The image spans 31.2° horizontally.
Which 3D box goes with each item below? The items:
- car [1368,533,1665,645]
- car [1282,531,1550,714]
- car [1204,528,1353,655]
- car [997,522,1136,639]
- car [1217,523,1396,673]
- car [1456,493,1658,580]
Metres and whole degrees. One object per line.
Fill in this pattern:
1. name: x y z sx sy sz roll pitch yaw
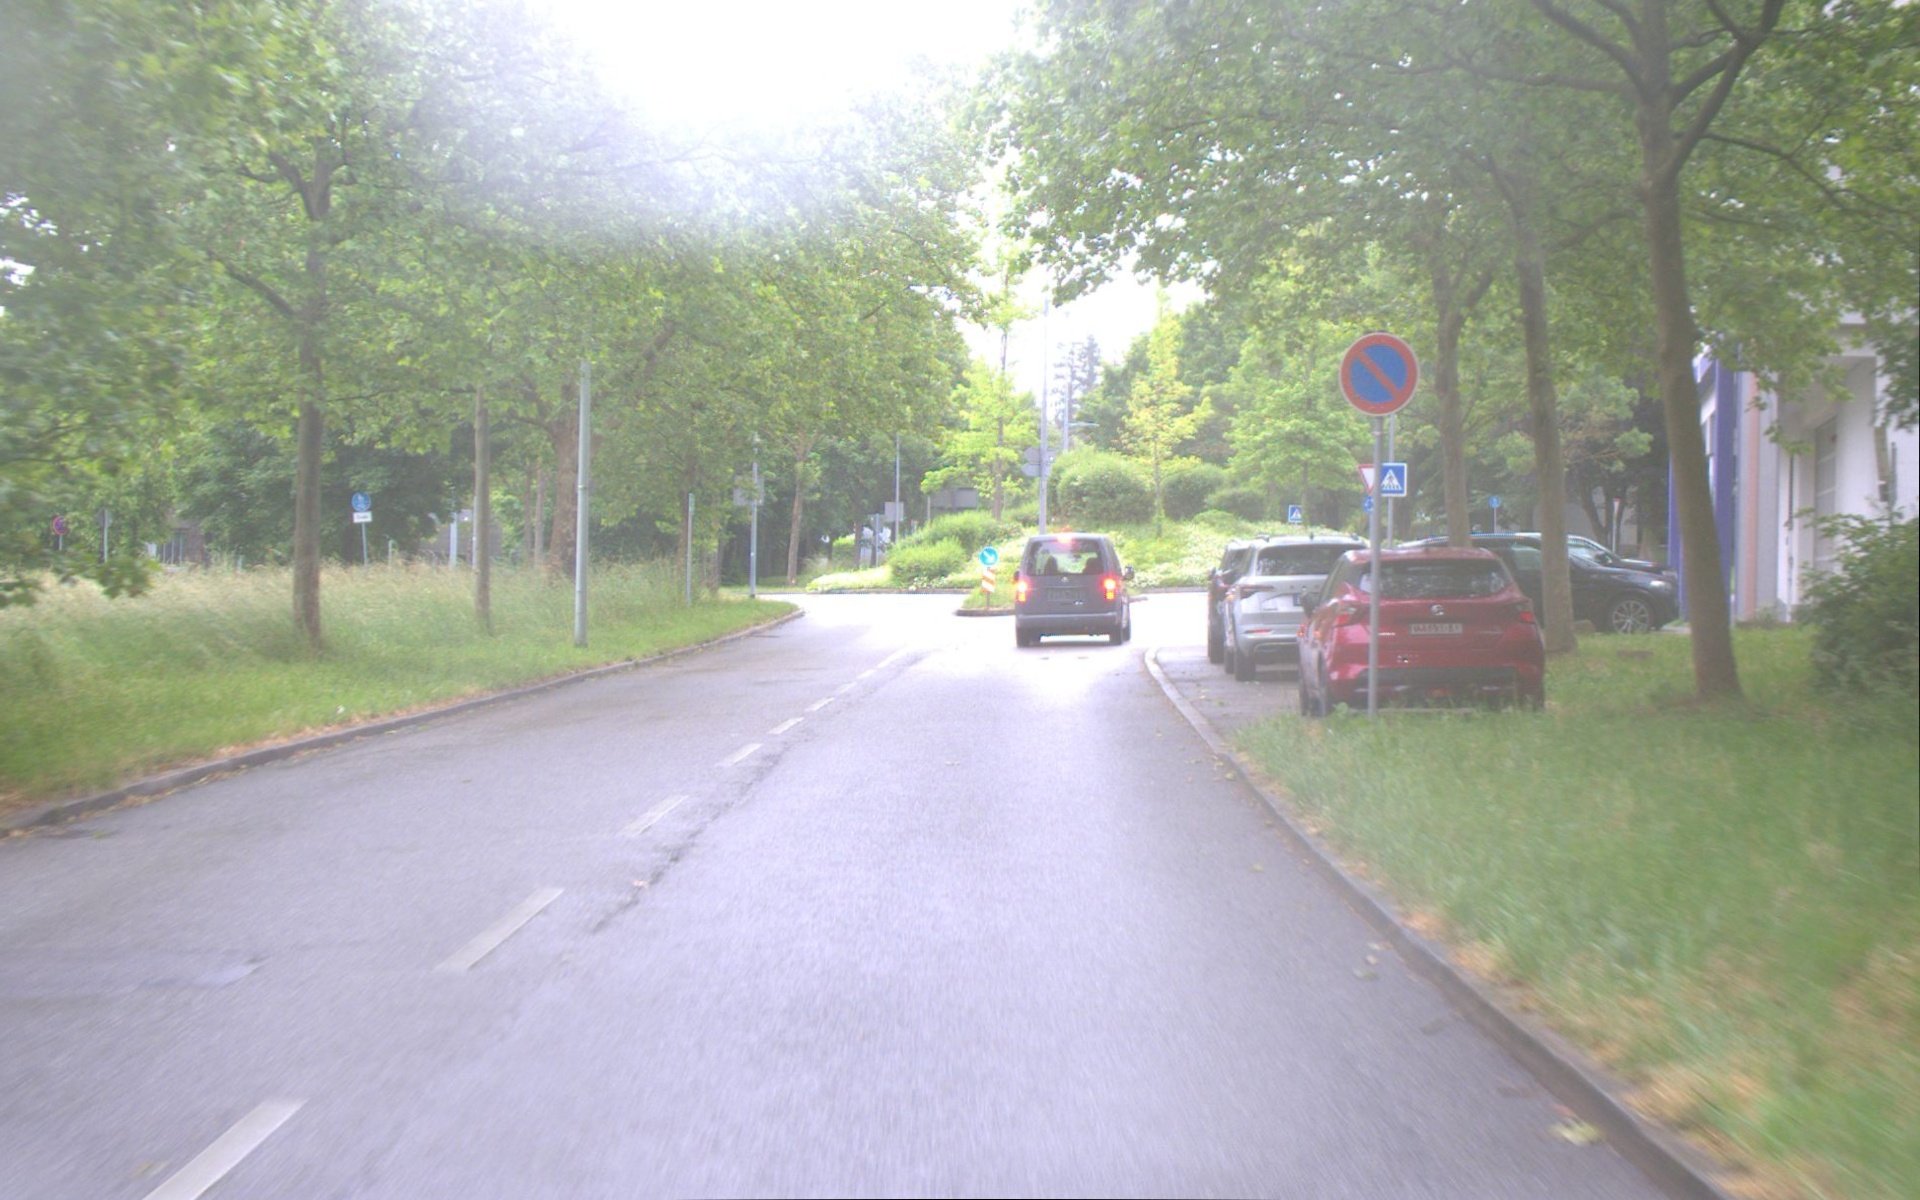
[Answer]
1. car: 8.721 -0.196 54.181 4.471 1.674 1.767 0 2 4
2. car: 3.643 0.149 28.036 1.797 1.367 3.744 -1 1 2
3. car: 4.204 -0.130 45.894 1.801 1.596 4.371 -1 1 3
4. car: 1.813 -0.355 57.355 1.919 1.795 3.789 -2 1 7
5. car: 3.905 -0.048 39.303 1.728 1.586 4.253 -1 1 2
6. car: 13.495 -1.454 77.895 4.379 1.753 1.829 2 3 9
